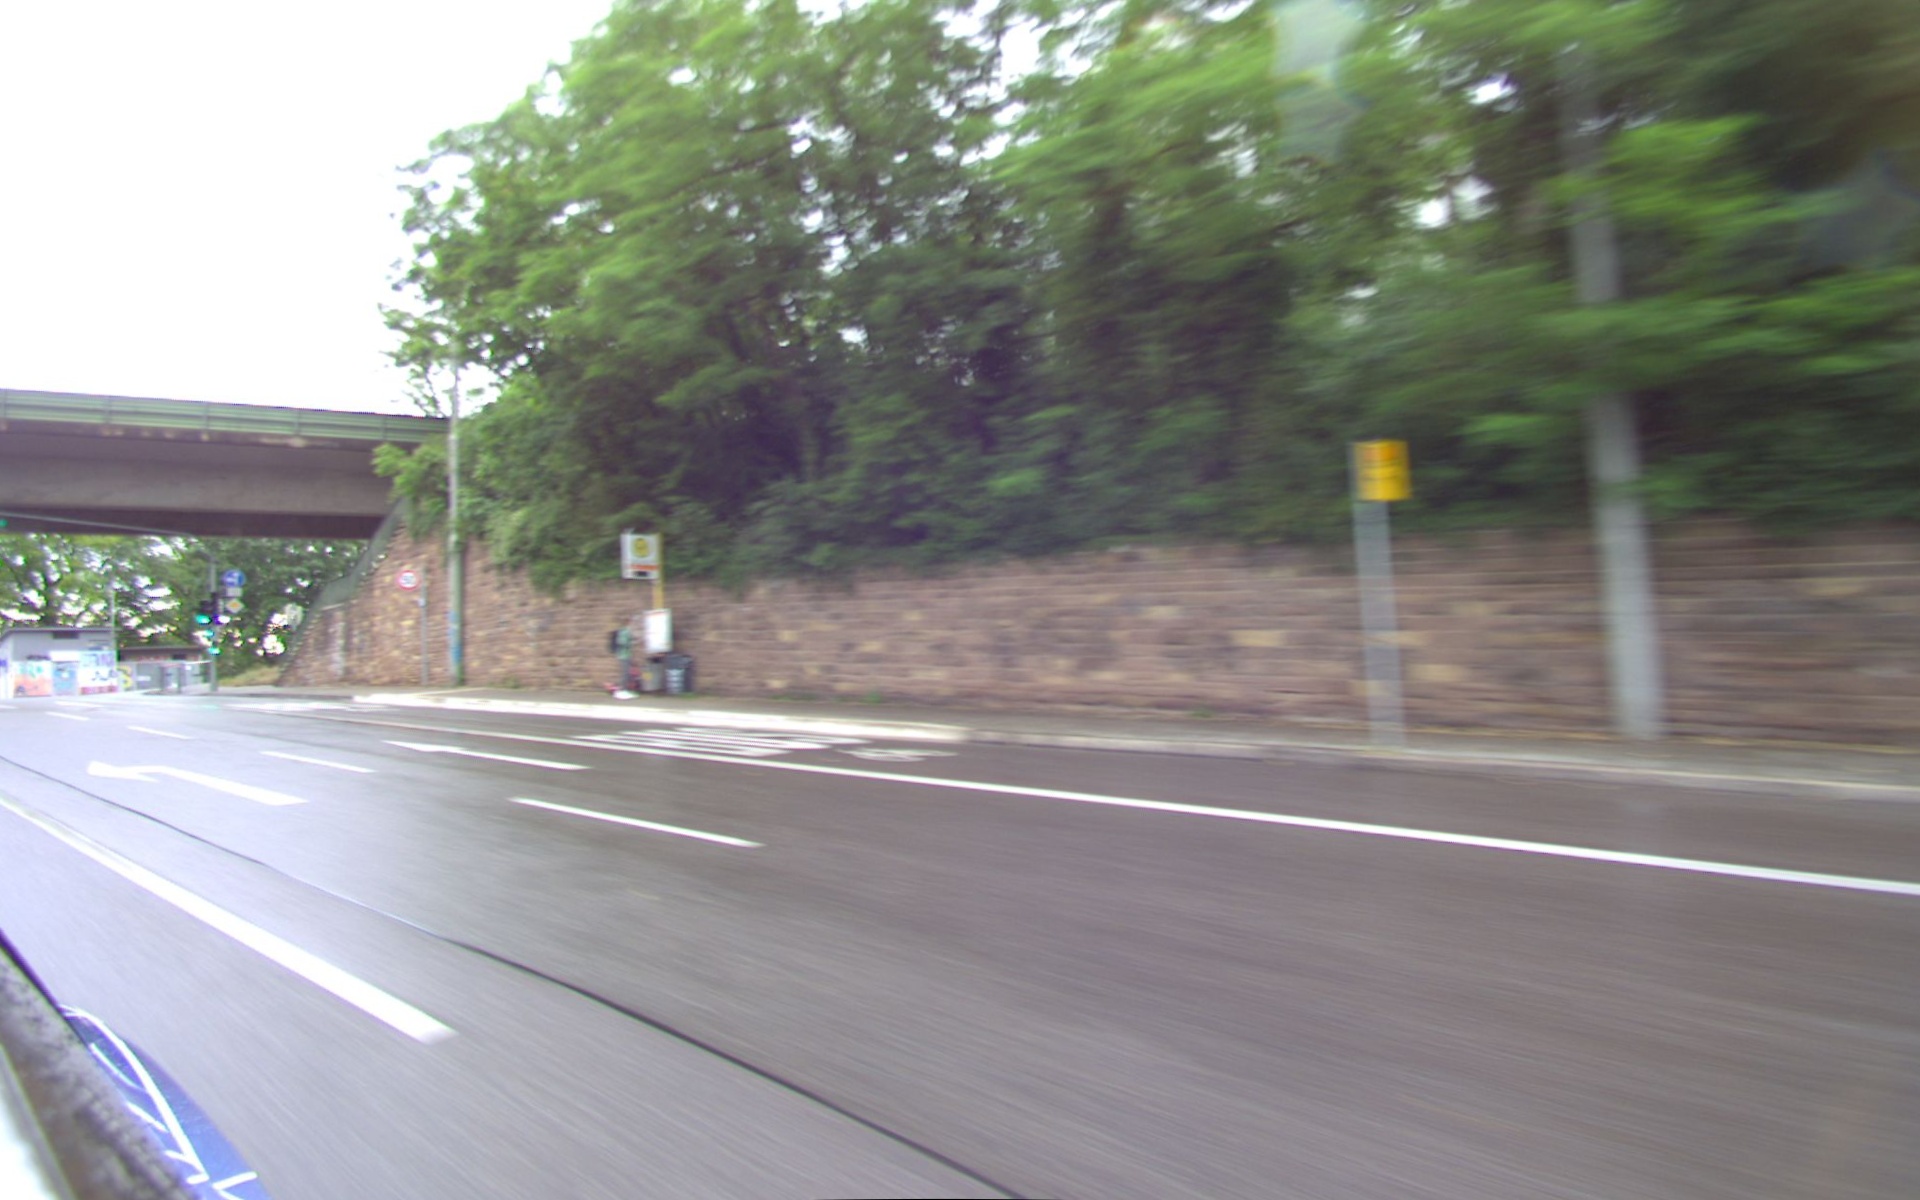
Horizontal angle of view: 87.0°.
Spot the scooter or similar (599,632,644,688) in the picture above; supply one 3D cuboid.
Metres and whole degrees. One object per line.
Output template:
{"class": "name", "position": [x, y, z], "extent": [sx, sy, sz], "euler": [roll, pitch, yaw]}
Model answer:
{"class": "scooter or similar", "position": [-7.398, 1.303, 22.098], "extent": [1.124, 1.190, 0.370], "euler": [-2, -1, 39]}

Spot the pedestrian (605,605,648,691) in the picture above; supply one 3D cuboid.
{"class": "pedestrian", "position": [-6.900, 0.977, 20.947], "extent": [0.622, 1.745, 0.582], "euler": [-2, -1, 37]}
